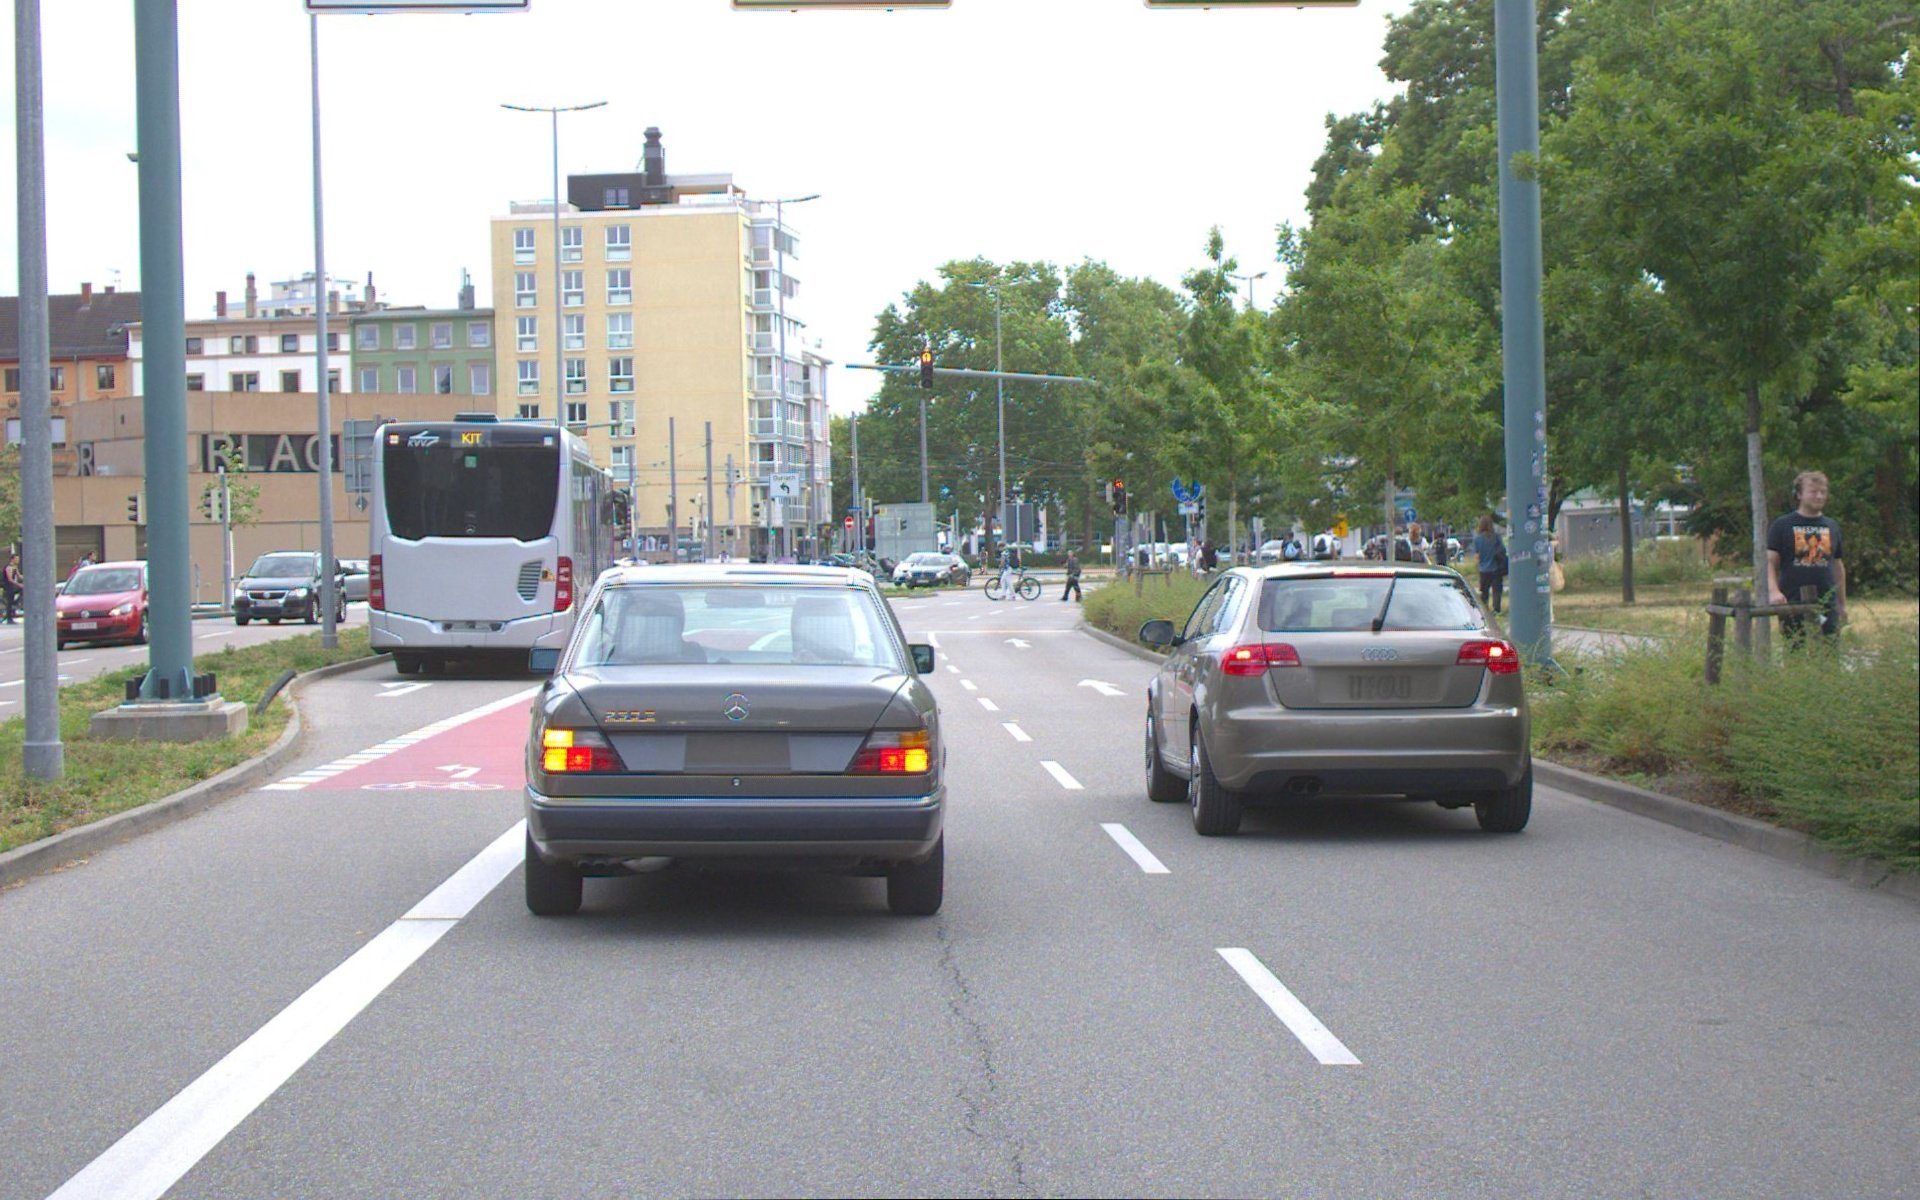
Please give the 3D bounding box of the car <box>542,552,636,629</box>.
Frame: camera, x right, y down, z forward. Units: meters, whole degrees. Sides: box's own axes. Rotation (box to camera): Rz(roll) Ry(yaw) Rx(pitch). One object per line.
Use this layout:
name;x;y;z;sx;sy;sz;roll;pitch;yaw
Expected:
car;-7.009;-0.204;65.213;1.655;1.392;3.861;-1;1;-5

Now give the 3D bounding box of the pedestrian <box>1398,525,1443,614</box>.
pedestrian;8.989;-0.594;67.099;0.802;1.707;0.764;-1;1;11

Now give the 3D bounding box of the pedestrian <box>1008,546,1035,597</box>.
pedestrian;1.932;-0.904;108.228;0.555;1.587;0.632;-1;-1;-41

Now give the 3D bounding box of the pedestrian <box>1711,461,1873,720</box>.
pedestrian;6.004;-0.072;24.791;0.935;1.824;0.886;-1;1;25

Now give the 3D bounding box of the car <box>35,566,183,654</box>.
car;-15.534;0.155;62.940;1.801;1.484;4.289;-1;1;-3

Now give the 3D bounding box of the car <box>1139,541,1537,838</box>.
car;1.992;0.416;19.090;1.724;1.452;3.736;-1;1;-1

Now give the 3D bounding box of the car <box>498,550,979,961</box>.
car;-1.006;0.546;14.915;1.761;1.484;4.172;-1;1;-5

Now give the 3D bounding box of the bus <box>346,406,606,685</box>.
bus;-6.368;-0.749;46.329;2.831;3.379;8.184;-1;1;-4

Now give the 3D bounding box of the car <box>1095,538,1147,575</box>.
car;7.829;-2.127;166.893;1.994;1.697;3.998;-1;1;10

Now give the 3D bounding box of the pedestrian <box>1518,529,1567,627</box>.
pedestrian;8.815;-0.339;52.030;0.657;1.465;0.561;-1;1;15

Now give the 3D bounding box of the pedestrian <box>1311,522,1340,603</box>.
pedestrian;9.095;-0.942;85.506;0.614;2.007;0.597;-1;1;-3

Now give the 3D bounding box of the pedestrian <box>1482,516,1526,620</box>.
pedestrian;9.045;-0.537;57.180;0.647;1.707;0.561;-1;1;13

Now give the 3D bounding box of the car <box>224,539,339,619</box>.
car;-15.177;-0.499;77.053;1.801;1.660;4.301;-3;1;-2
